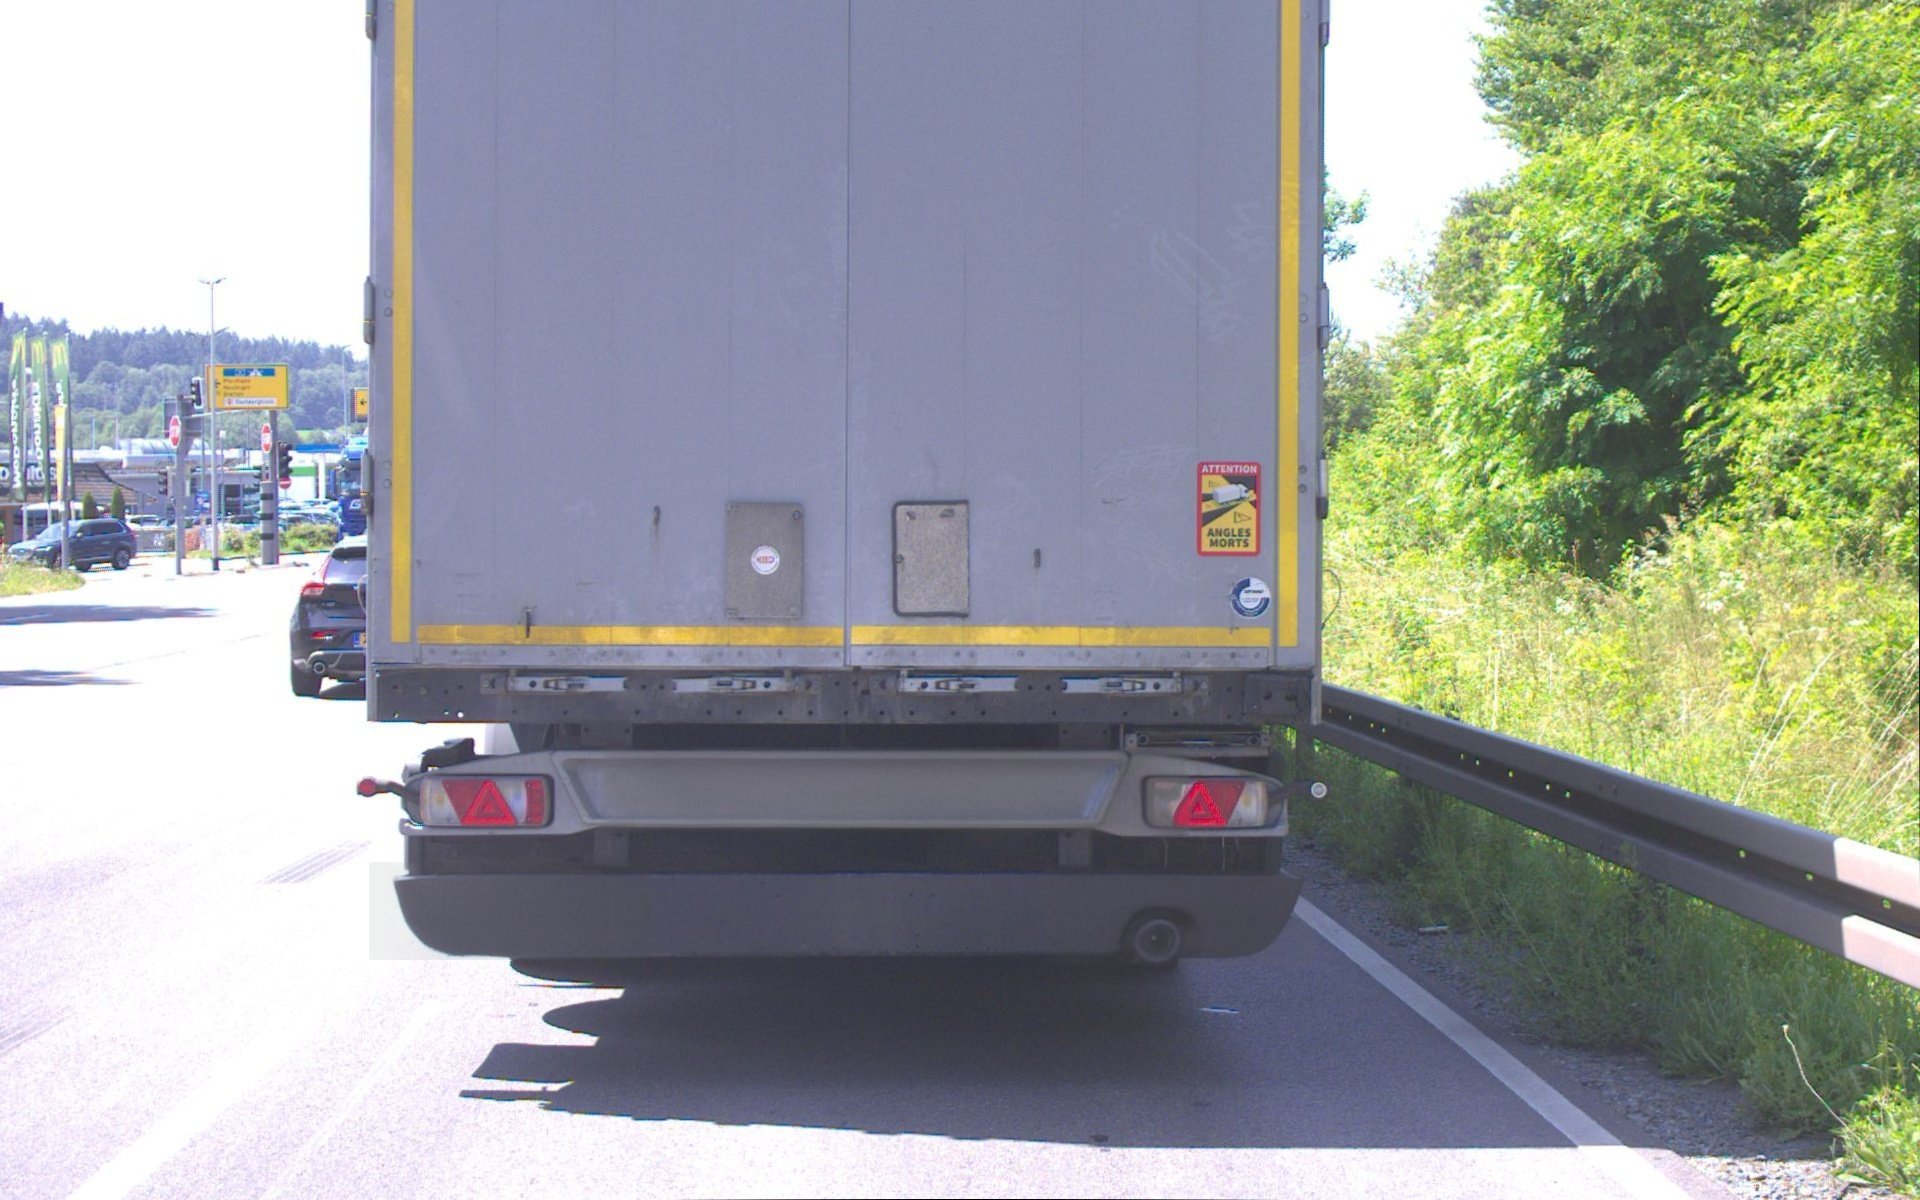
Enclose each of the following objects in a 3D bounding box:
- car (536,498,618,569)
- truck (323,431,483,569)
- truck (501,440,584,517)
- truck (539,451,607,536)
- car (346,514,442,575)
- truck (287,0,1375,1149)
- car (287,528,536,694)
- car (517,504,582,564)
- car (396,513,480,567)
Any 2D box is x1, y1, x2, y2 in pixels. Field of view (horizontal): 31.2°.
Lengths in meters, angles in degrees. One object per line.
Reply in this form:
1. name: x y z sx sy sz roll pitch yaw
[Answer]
1. car: -11.128 -1.951 100.108 1.993 2.007 4.000 0 1 -1
2. truck: -18.004 -3.208 112.331 2.968 4.162 16.576 0 1 -2
3. truck: -18.862 -5.434 156.029 2.846 3.340 11.484 0 1 -2
4. truck: -20.856 -5.592 184.370 3.145 4.334 17.547 0 1 -8
5. car: -13.490 -1.321 82.144 1.766 1.381 4.000 1 1 -2
6. truck: -0.411 -0.994 17.221 2.755 4.623 16.656 1 1 -1
7. car: -4.895 0.061 31.186 1.686 1.393 4.403 0 1 -2
8. car: -13.987 -2.257 117.186 1.773 2.007 4.000 0 1 -1
9. car: -13.987 -1.601 92.255 1.766 1.381 4.000 1 1 -2
